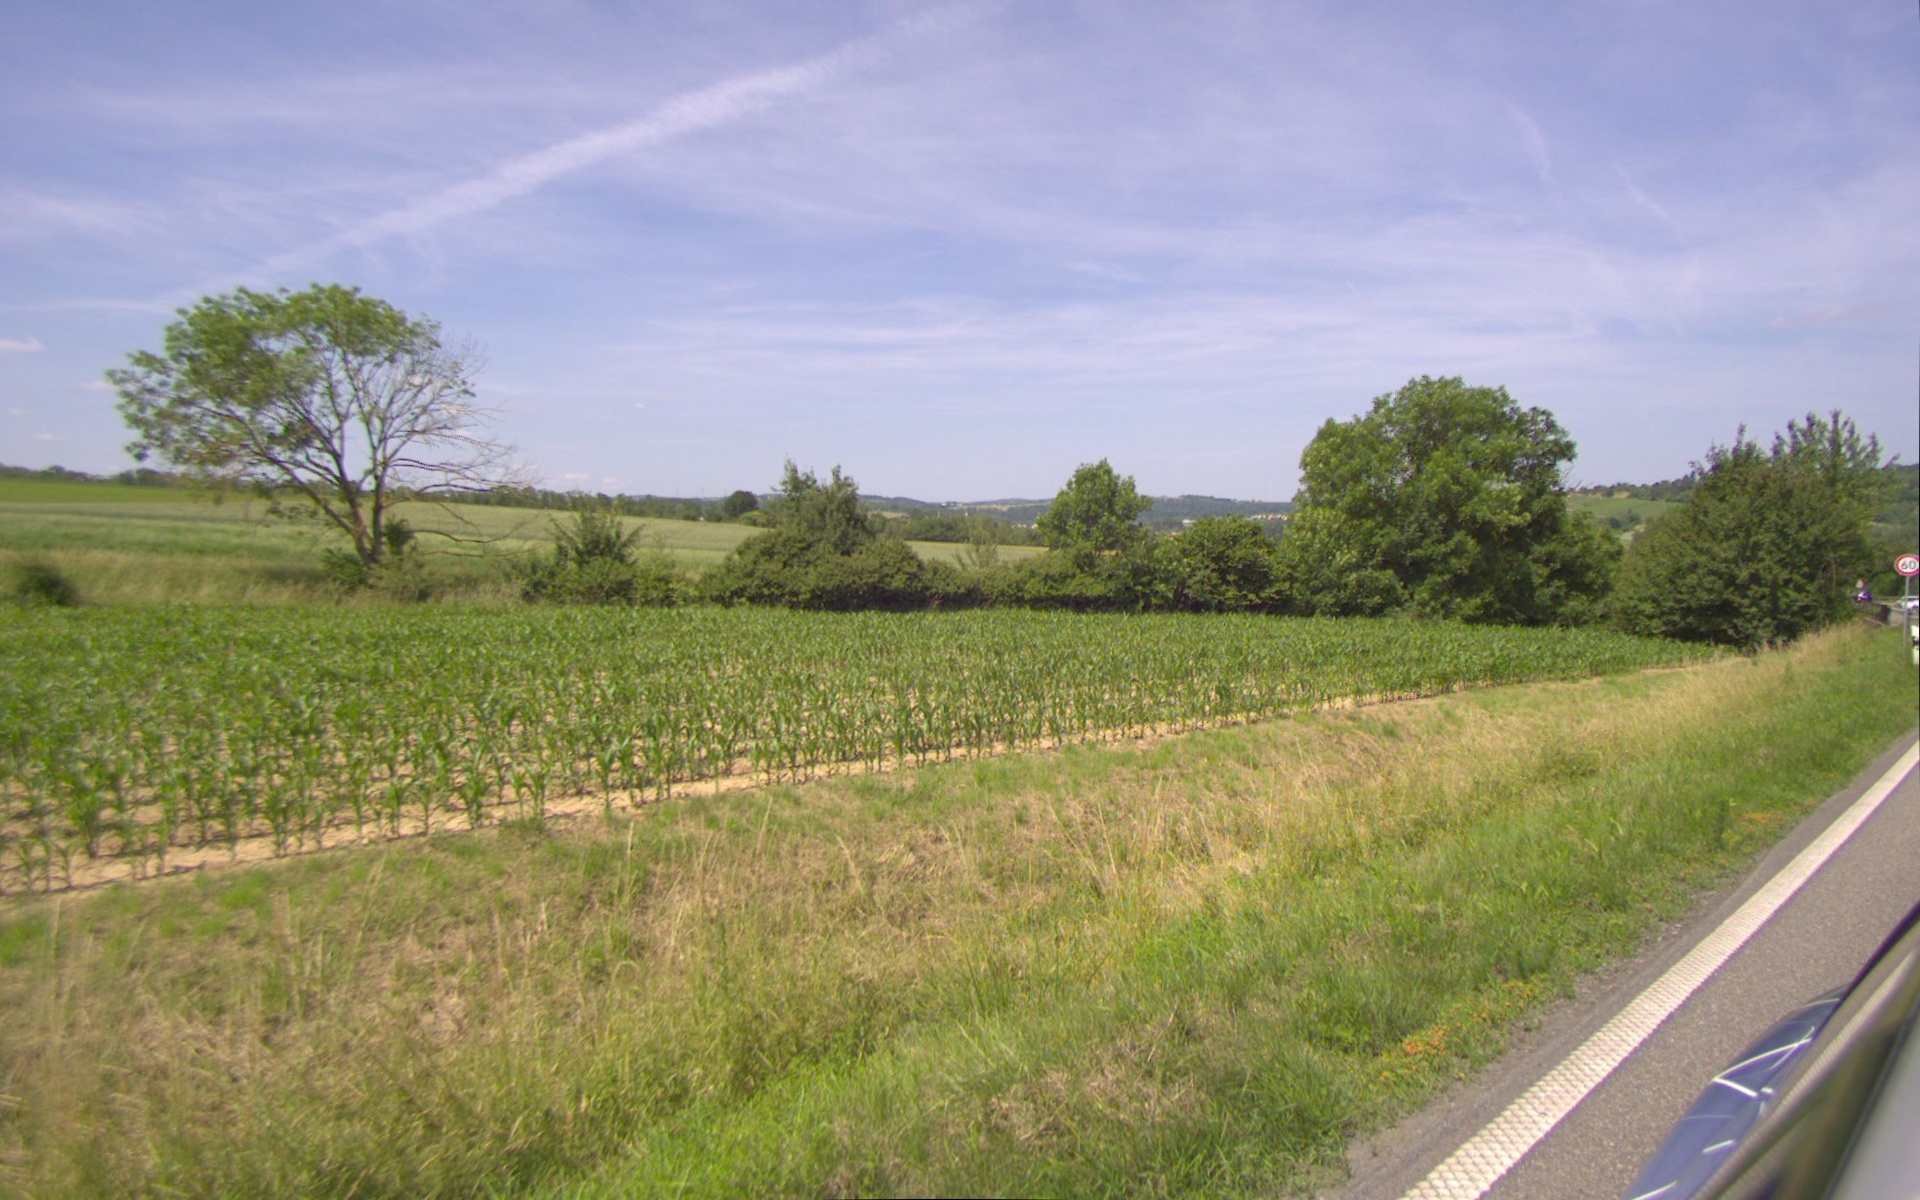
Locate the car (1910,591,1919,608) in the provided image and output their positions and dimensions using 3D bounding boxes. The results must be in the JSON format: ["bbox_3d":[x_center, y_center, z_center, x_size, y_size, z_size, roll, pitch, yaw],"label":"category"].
[{"bbox_3d":[80.701,-0.055,84.594,1.702,1.393,4.534,2,1,41],"label":"car"}]

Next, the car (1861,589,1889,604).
[{"bbox_3d":[112.180,-0.431,124.122,1.781,1.830,3.955,0,1,31],"label":"car"}]
